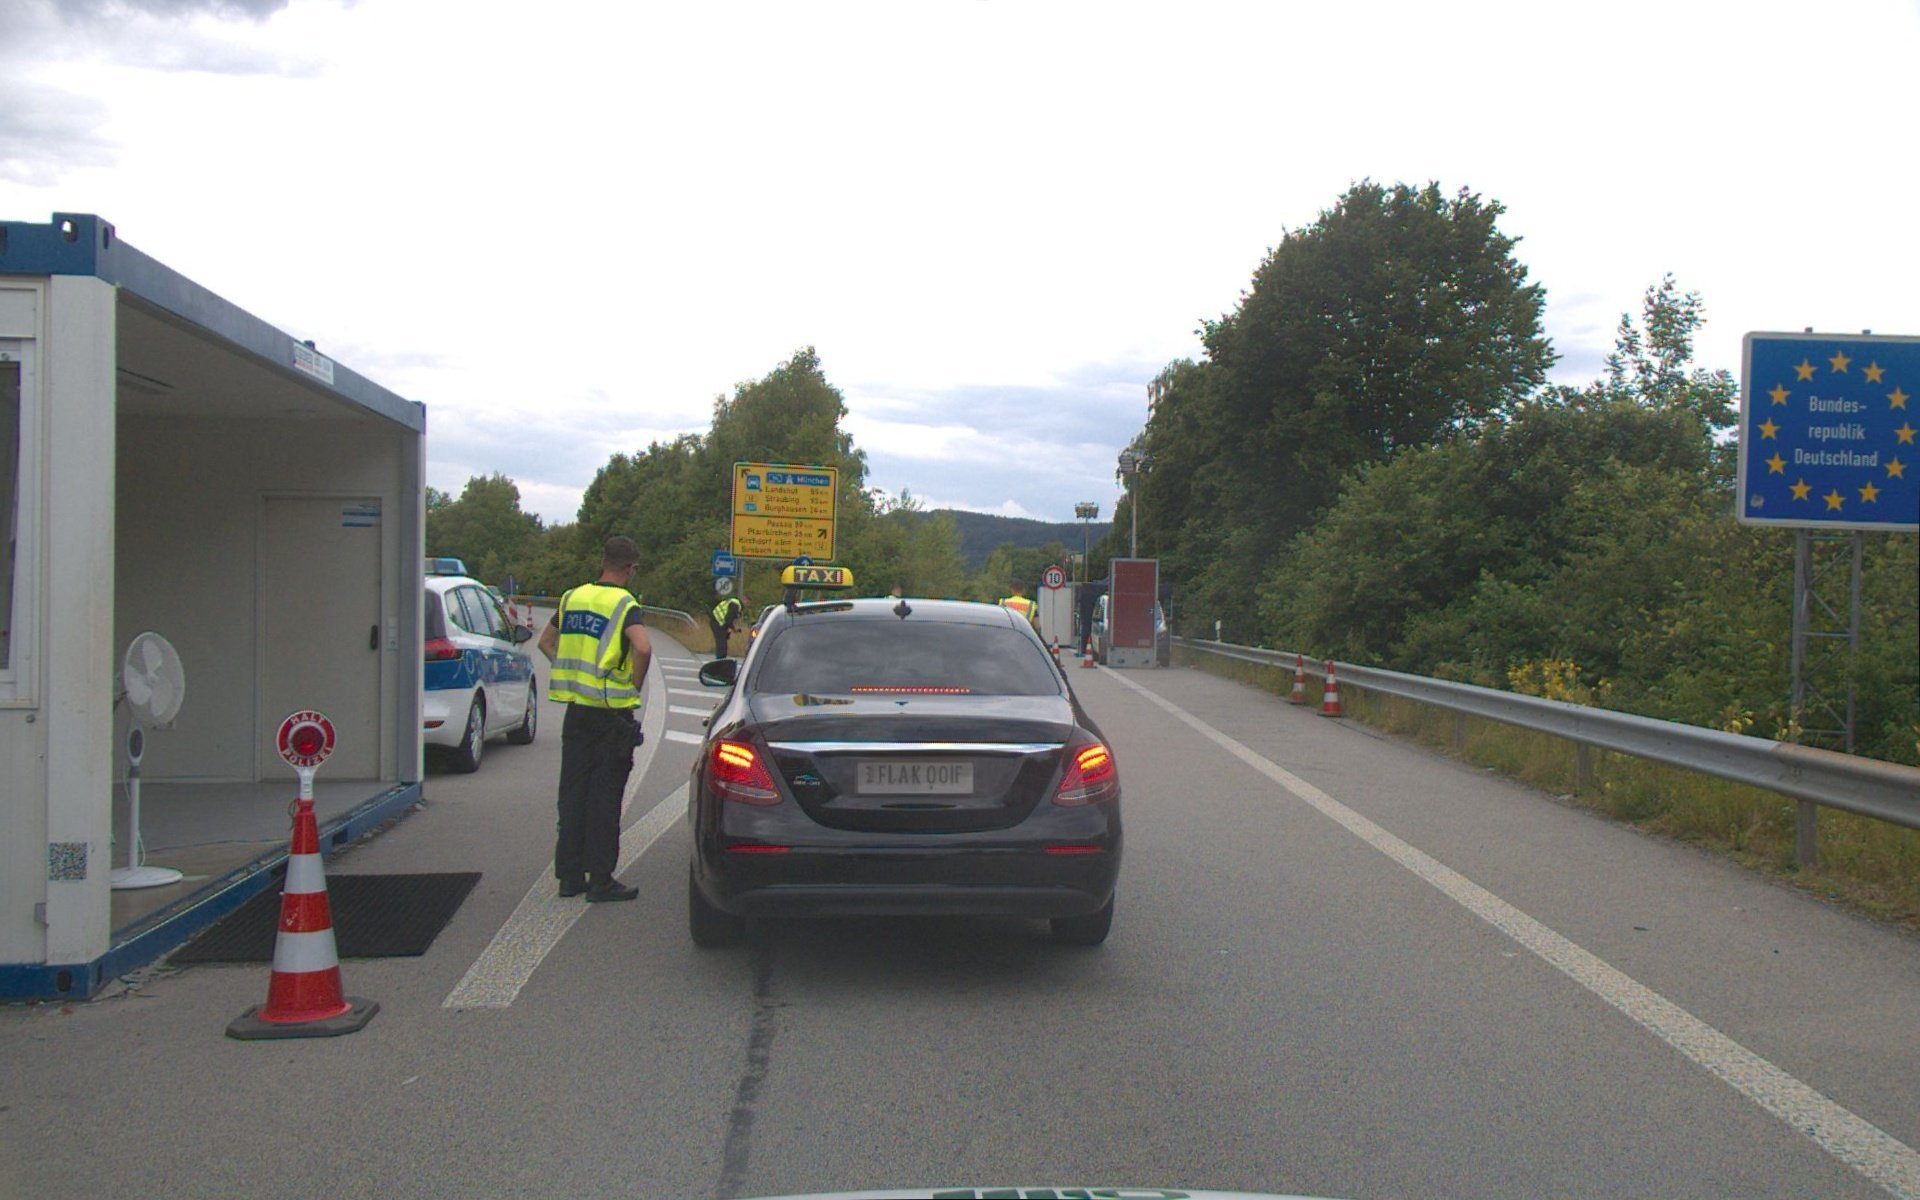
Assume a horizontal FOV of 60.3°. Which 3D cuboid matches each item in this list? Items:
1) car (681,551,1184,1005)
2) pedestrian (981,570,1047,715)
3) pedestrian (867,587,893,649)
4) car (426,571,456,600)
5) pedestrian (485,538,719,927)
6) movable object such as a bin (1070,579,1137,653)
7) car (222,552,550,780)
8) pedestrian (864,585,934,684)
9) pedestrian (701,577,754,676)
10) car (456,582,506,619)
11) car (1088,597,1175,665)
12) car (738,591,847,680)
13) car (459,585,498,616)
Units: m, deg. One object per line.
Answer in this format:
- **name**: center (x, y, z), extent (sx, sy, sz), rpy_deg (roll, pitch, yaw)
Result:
- **car**: center (-0.287, 0.639, 8.191), extent (1.819, 1.623, 4.370), rpy_deg (1, 0, -5)
- **pedestrian**: center (0.723, 0.550, 21.844), extent (0.795, 1.862, 0.810), rpy_deg (0, 0, 7)
- **pedestrian**: center (-2.621, 0.575, 54.084), extent (0.650, 1.995, 0.760), rpy_deg (0, 0, 15)
- **car**: center (-41.586, -1.129, 132.436), extent (1.831, 2.261, 4.224), rpy_deg (1, 0, -24)
- **pedestrian**: center (-1.720, 0.595, 7.986), extent (0.747, 1.748, 0.815), rpy_deg (0, 0, 36)
- **movable object such as a bin**: center (4.710, 0.495, 54.696), extent (1.952, 2.320, 4.168), rpy_deg (1, 0, 1)
- **car**: center (-4.990, 0.518, 14.971), extent (1.832, 1.774, 4.004), rpy_deg (1, 0, -5)
- **pedestrian**: center (-1.089, 0.610, 29.528), extent (0.900, 1.727, 0.903), rpy_deg (1, -1, -32)
- **pedestrian**: center (-4.289, 0.484, 30.562), extent (0.893, 1.800, 0.911), rpy_deg (1, 0, -4)
- **car**: center (-20.355, 0.019, 70.463), extent (1.824, 1.524, 4.242), rpy_deg (1, 0, -14)
- **car**: center (4.682, 0.807, 45.851), extent (1.877, 1.707, 5.083), rpy_deg (2, 0, 1)
- **car**: center (-3.037, 0.614, 30.721), extent (1.818, 1.524, 4.253), rpy_deg (1, 0, -4)
- **car**: center (-25.133, 0.015, 86.336), extent (1.827, 1.524, 4.235), rpy_deg (1, 0, -18)
